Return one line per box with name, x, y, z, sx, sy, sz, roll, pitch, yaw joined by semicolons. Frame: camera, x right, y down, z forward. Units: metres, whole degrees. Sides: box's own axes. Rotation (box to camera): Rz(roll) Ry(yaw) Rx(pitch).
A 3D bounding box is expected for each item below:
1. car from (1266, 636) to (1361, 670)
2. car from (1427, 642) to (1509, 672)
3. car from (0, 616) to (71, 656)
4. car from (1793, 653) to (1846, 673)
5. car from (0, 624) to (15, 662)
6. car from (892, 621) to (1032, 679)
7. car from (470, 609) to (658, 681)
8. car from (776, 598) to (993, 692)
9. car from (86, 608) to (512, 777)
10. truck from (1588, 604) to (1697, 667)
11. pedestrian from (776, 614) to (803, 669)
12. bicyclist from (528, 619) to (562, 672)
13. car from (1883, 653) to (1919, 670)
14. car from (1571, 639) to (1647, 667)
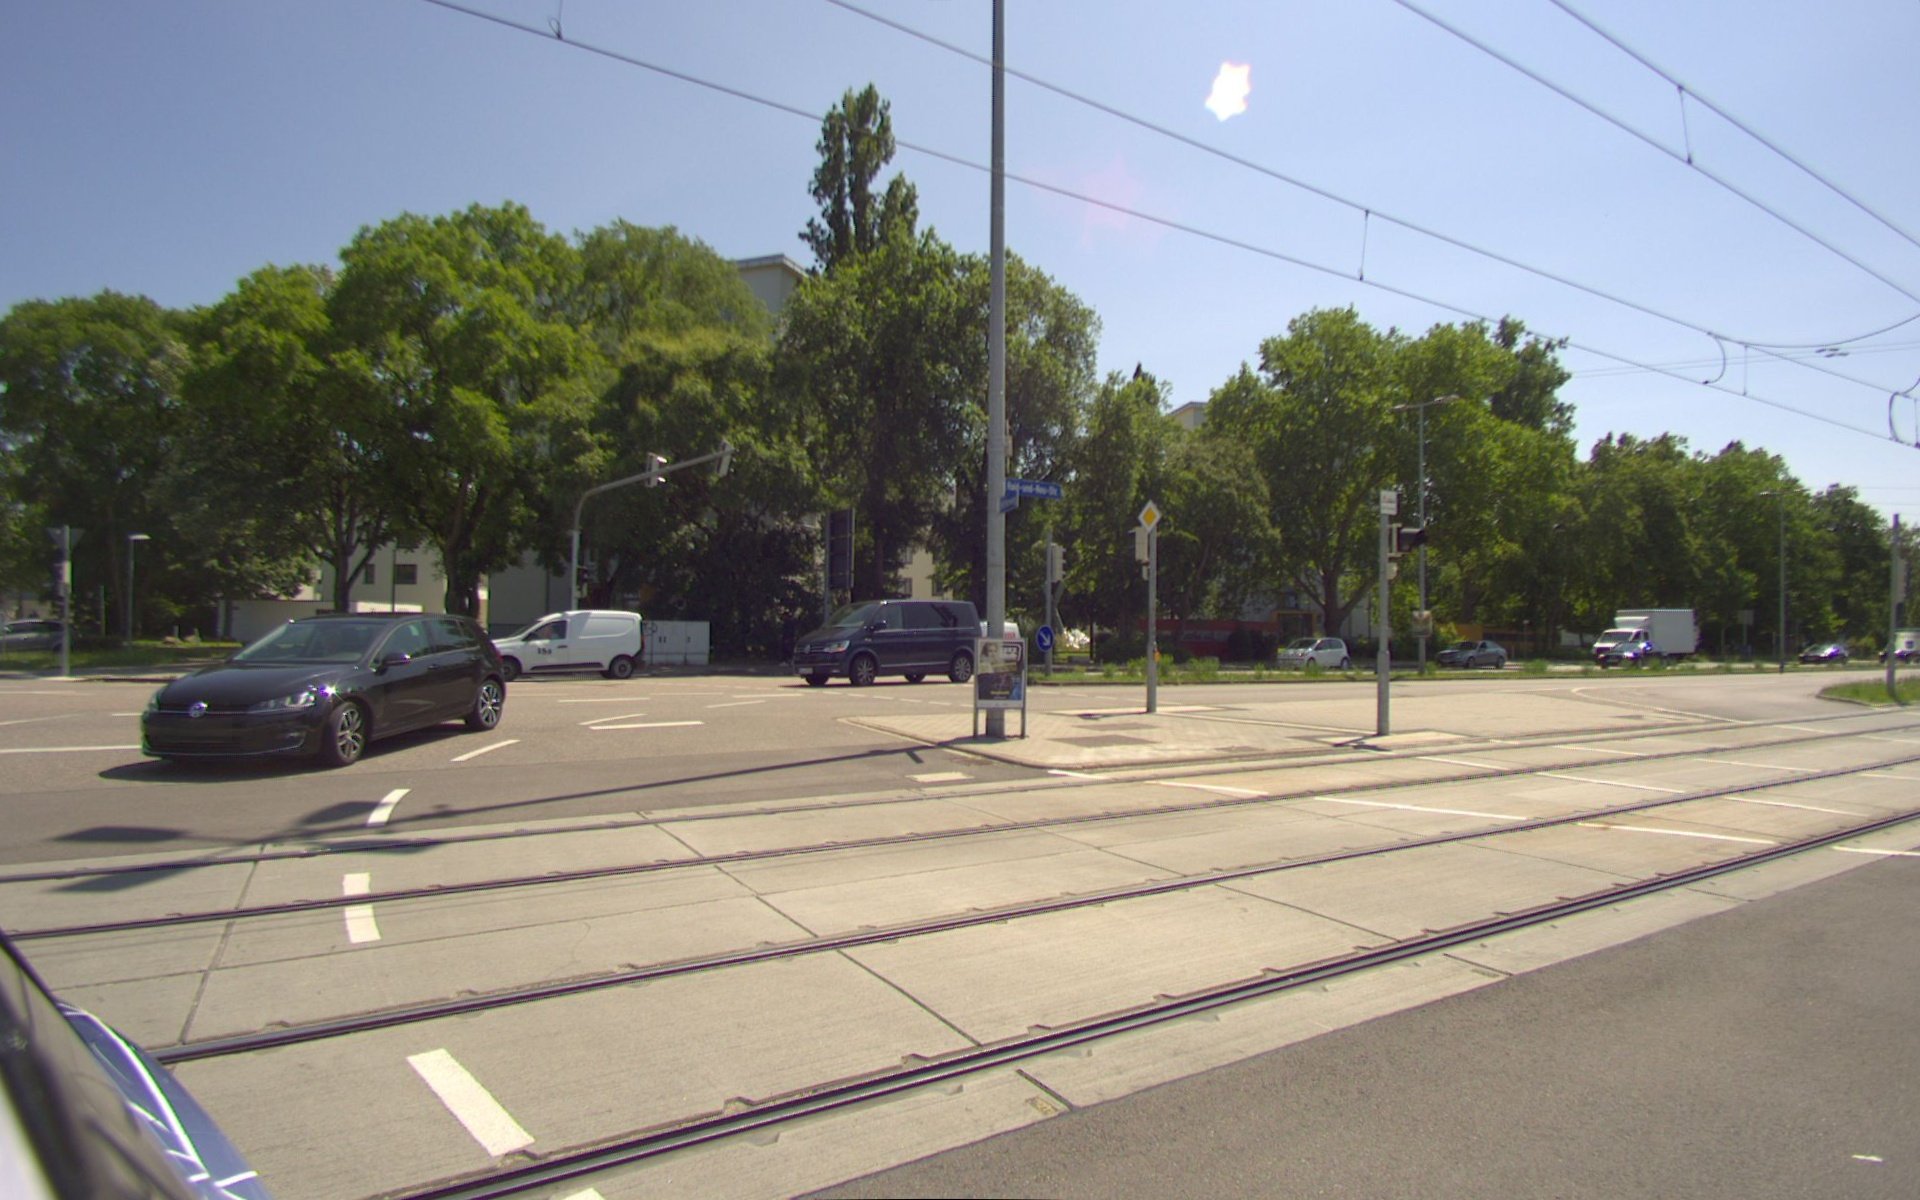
car;15.604;2.315;44.651;4.144;1.436;1.854;2;-3;-34
car;25.468;2.830;50.745;4.144;1.436;1.854;2;-3;-34
car;-34.742;1.320;36.684;1.578;1.439;3.456;-3;-2;30
car;59.877;4.371;70.497;3.934;1.296;1.891;2;-5;-36
car;-37.985;1.659;37.970;1.580;1.439;3.453;-3;-2;33
car;0.082;1.674;33.528;4.320;1.807;1.901;2;-4;-35
car;-10.214;1.162;26.210;4.269;1.731;1.816;2;-3;-32
car;-1.648;0.999;23.249;4.771;1.946;1.945;2;-2;-42
car;-6.623;0.820;10.767;1.688;1.415;4.049;1;-1;4
truck;40.800;2.158;60.417;7.582;3.560;2.595;2;-4;-34
pedestrian;-5.792;1.411;34.402;0.668;1.849;0.609;2;-2;-36
bicyclist;-11.920;1.303;29.101;0.622;1.479;0.614;2;-1;11
car;73.113;4.738;78.382;3.585;1.296;1.609;2;-5;-36
car;31.264;2.537;48.724;3.934;1.296;1.751;2;-5;-36
